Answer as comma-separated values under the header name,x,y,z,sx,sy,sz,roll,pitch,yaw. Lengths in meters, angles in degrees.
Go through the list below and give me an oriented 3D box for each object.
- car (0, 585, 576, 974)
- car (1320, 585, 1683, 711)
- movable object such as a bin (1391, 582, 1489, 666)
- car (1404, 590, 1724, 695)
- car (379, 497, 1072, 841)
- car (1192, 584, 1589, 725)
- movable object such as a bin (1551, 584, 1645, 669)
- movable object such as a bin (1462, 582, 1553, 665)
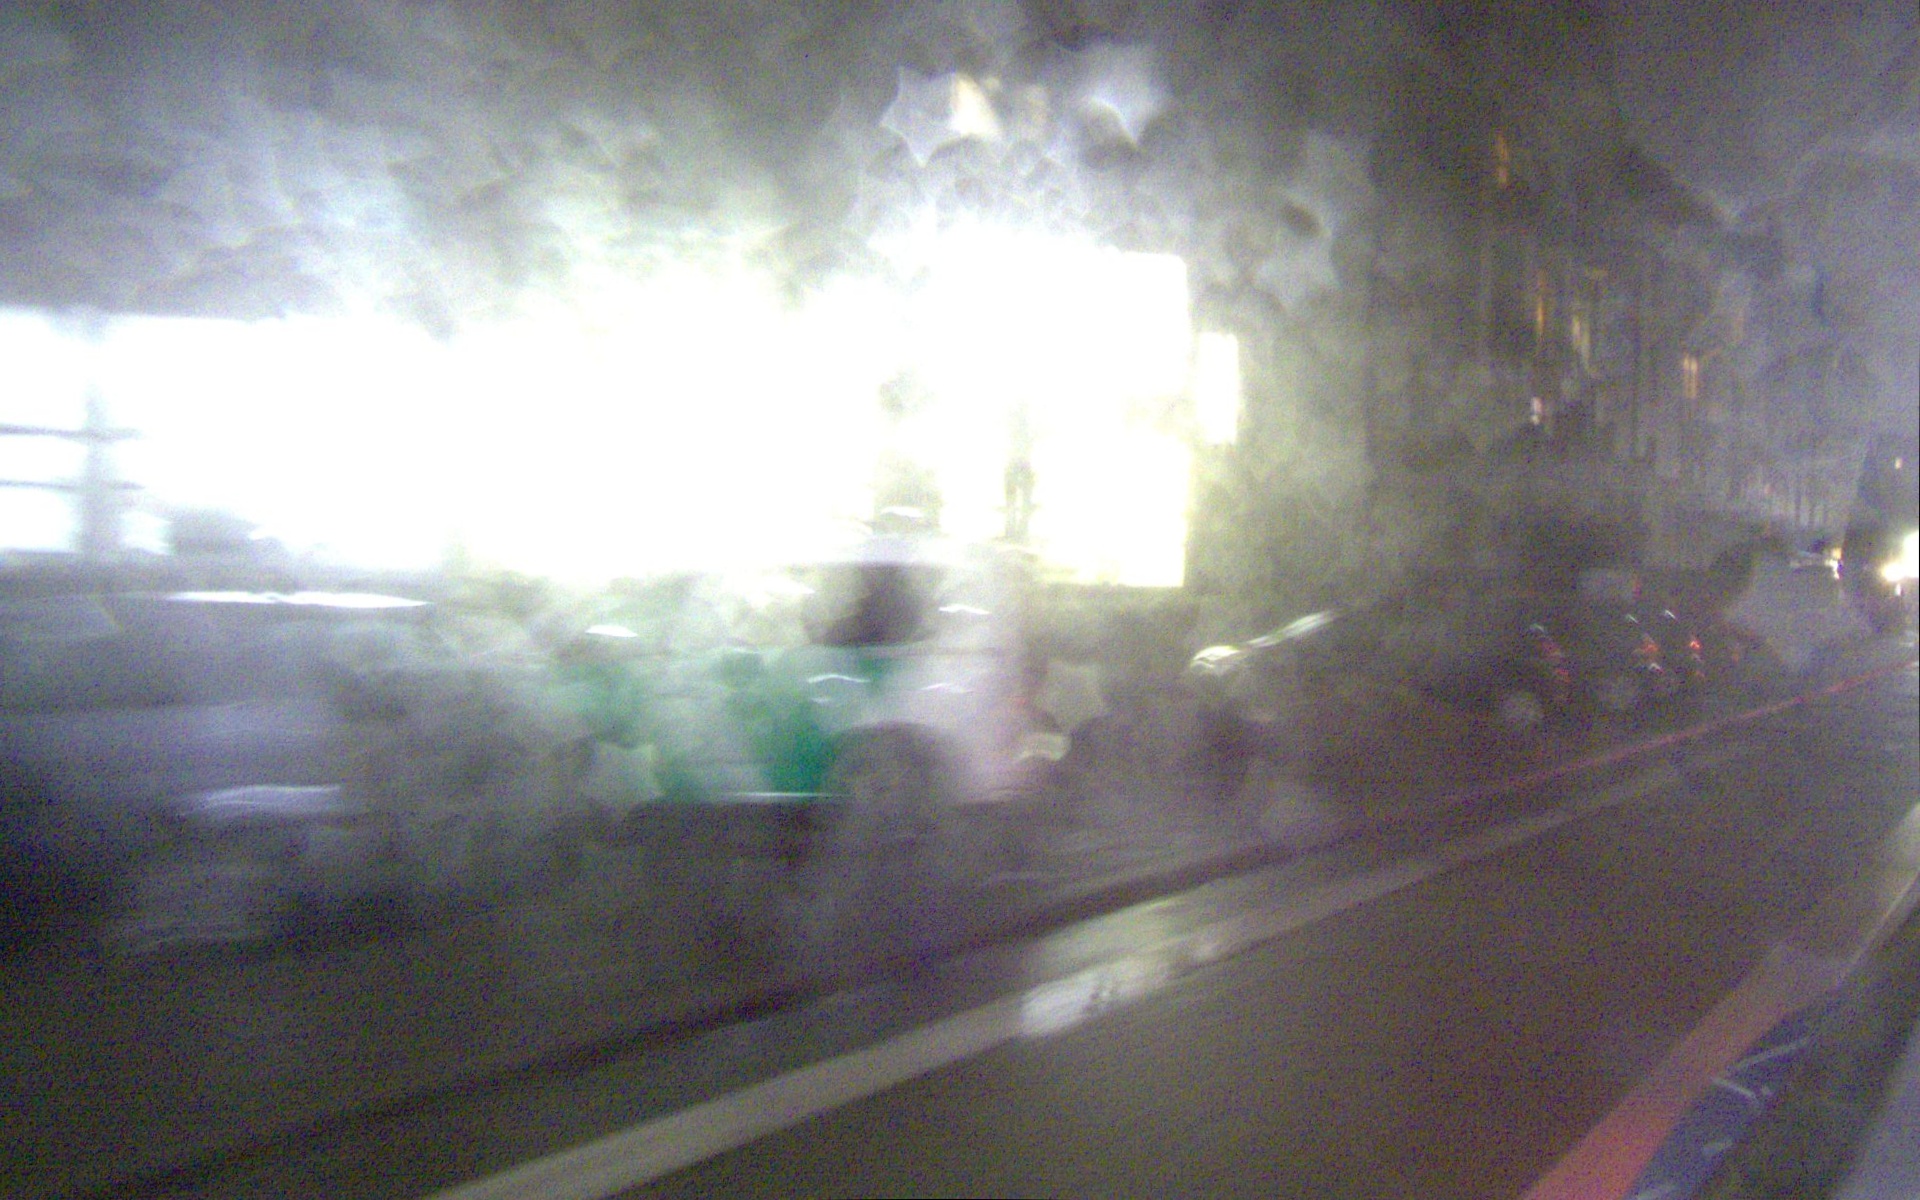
name,x,y,z,sx,sy,sz,roll,pitch,yaw
car,-3.769,0.644,4.879,3.289,1.403,1.623,0,0,15
car,6.995,0.573,13.404,3.785,1.507,1.807,0,1,2
movable object such as a bin,8.614,0.405,18.159,1.390,1.424,1.027,0,1,-35
car,8.985,0.614,15.368,3.726,1.476,1.766,-1,0,8
car,-1.350,0.409,6.773,4.104,1.863,1.958,-1,-1,9
car,4.659,0.585,11.404,3.768,1.457,1.597,-1,0,6
movable object such as a bin,11.267,0.436,17.933,1.341,1.424,1.016,1,1,30
movable object such as a bin,10.050,0.400,18.592,1.400,1.424,1.016,2,1,30
